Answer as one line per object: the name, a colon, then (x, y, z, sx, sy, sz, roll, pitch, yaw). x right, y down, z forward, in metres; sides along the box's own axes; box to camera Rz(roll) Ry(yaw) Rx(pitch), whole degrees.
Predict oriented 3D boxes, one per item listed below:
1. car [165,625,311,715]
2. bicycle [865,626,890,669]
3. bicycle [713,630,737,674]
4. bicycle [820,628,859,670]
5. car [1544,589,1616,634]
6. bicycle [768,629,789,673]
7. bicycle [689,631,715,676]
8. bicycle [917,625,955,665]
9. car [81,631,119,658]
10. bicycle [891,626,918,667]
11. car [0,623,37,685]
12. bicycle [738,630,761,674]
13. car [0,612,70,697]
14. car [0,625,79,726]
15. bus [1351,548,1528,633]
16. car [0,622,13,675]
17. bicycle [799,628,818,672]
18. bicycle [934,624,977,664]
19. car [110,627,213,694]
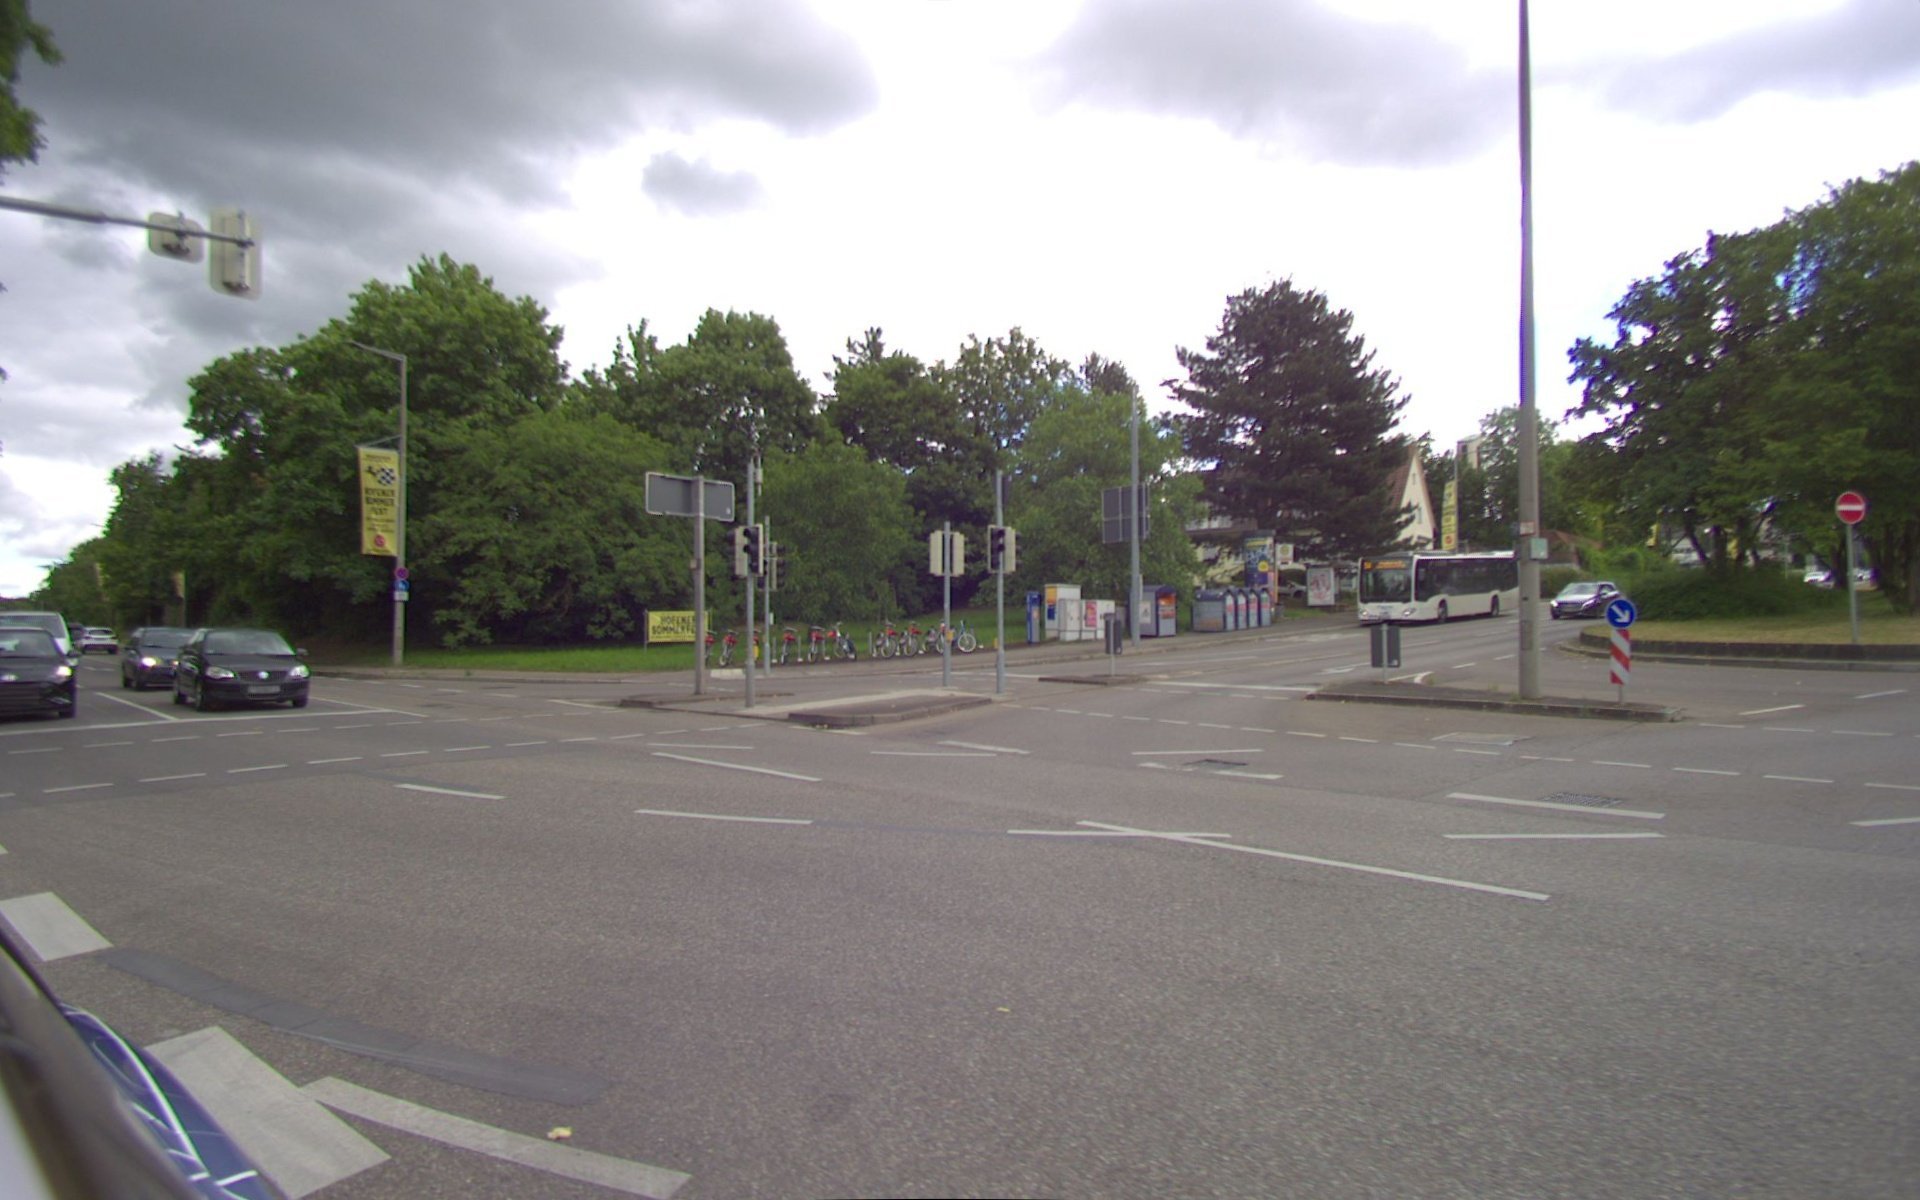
car: (-13.311, 1.231, 18.584, 3.809, 1.478, 1.538, -2, -3, 45)
bicycle: (-2.651, 1.495, 32.325, 0.537, 1.262, 1.940, -1, 0, -12)
bicycle: (-7.185, 1.584, 31.035, 0.537, 1.262, 1.939, -1, -1, -8)
bicycle: (-3.809, 1.517, 31.861, 0.536, 1.262, 1.941, -1, 0, -28)
car: (27.440, 0.471, 44.717, 1.999, 1.867, 4.682, -2, 0, 40)
bicycle: (-5.593, 1.552, 31.246, 0.537, 1.262, 1.939, -1, 0, -8)
bicycle: (-7.836, 1.597, 30.794, 0.537, 1.262, 1.939, -1, 0, -8)
bicycle: (-0.805, 1.460, 33.217, 0.536, 1.262, 1.942, -1, 0, -23)
car: (-51.972, 2.660, 61.146, 1.718, 1.550, 3.916, 0, -1, -41)
bicycle: (-1.794, 1.479, 32.690, 0.537, 1.262, 1.940, -1, 0, -12)
car: (-28.533, 1.579, 29.811, 4.336, 1.731, 1.731, -3, -3, 45)
bicycle: (-6.493, 1.571, 31.277, 0.537, 1.262, 1.939, -1, 0, -8)
car: (-22.851, 1.266, 24.280, 5.284, 1.857, 1.885, -2, -2, 45)
car: (-15.661, 1.173, 16.337, 3.665, 1.492, 1.686, -2, -2, 41)
bus: (21.790, -0.569, 45.423, 12.163, 3.186, 2.683, -4, 2, -42)
car: (-34.609, 1.697, 35.580, 1.782, 1.808, 4.506, 0, -1, -45)
bicycle: (-4.714, 1.534, 31.492, 0.537, 1.262, 1.939, -1, 0, -8)
bicycle: (-0.161, 1.448, 33.503, 0.536, 1.262, 1.941, -1, 0, -29)
car: (-19.409, 1.436, 24.550, 1.573, 1.479, 3.932, 3, -4, -43)
